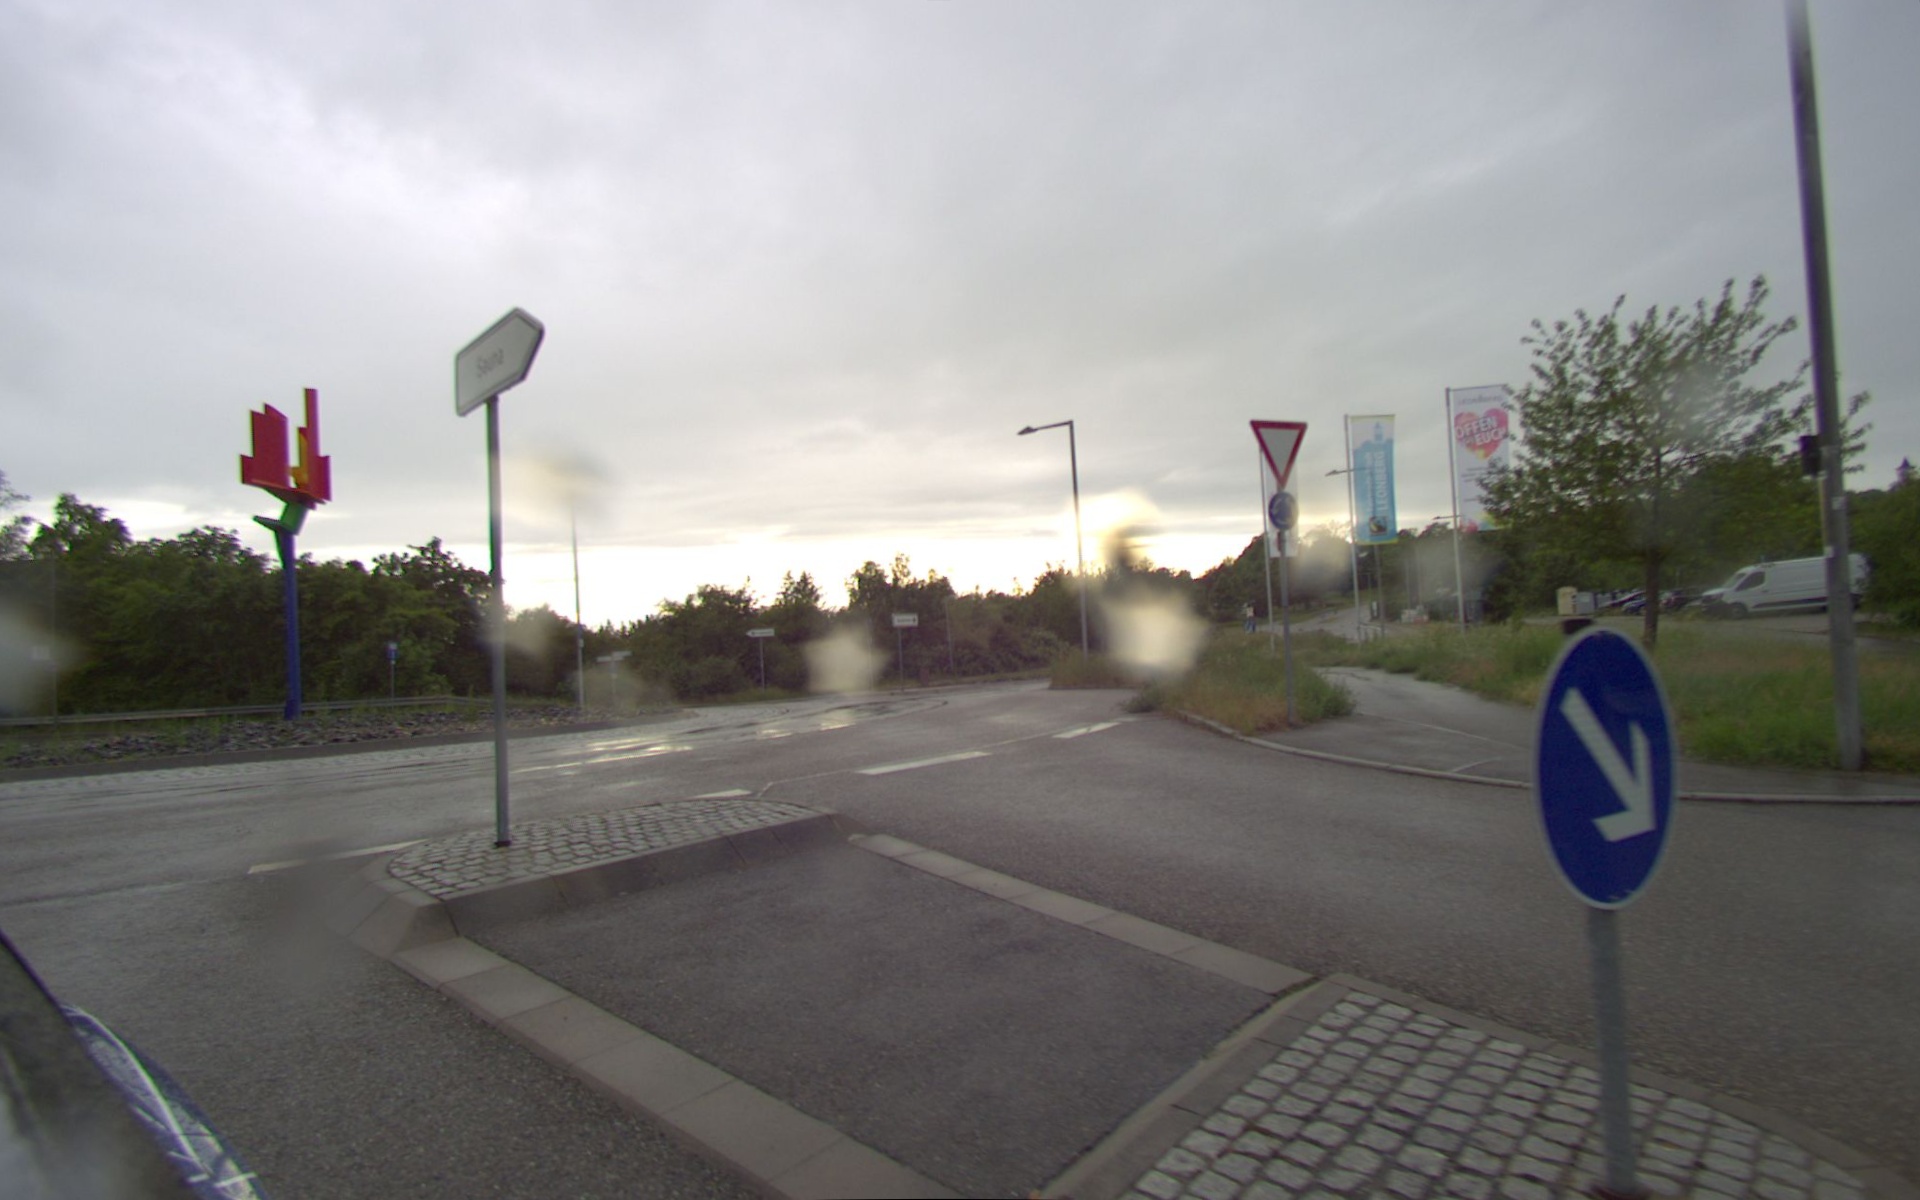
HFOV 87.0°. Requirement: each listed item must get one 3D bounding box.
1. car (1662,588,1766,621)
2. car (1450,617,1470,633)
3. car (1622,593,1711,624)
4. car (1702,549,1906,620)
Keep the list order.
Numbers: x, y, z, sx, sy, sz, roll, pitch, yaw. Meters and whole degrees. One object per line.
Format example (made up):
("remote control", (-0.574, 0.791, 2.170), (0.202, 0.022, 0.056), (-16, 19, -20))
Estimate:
("car", (39.656, 0.264, 53.336), (3.979, 1.374, 1.831), (-5, -3, 26))
("car", (60.648, 3.036, 122.737), (1.686, 1.580, 4.506), (-8, -5, 22))
("car", (42.688, 0.525, 61.255), (3.979, 1.374, 1.883), (-8, -5, 26))
("car", (37.937, -0.646, 45.765), (6.532, 2.415, 2.124), (-6, -2, 22))
